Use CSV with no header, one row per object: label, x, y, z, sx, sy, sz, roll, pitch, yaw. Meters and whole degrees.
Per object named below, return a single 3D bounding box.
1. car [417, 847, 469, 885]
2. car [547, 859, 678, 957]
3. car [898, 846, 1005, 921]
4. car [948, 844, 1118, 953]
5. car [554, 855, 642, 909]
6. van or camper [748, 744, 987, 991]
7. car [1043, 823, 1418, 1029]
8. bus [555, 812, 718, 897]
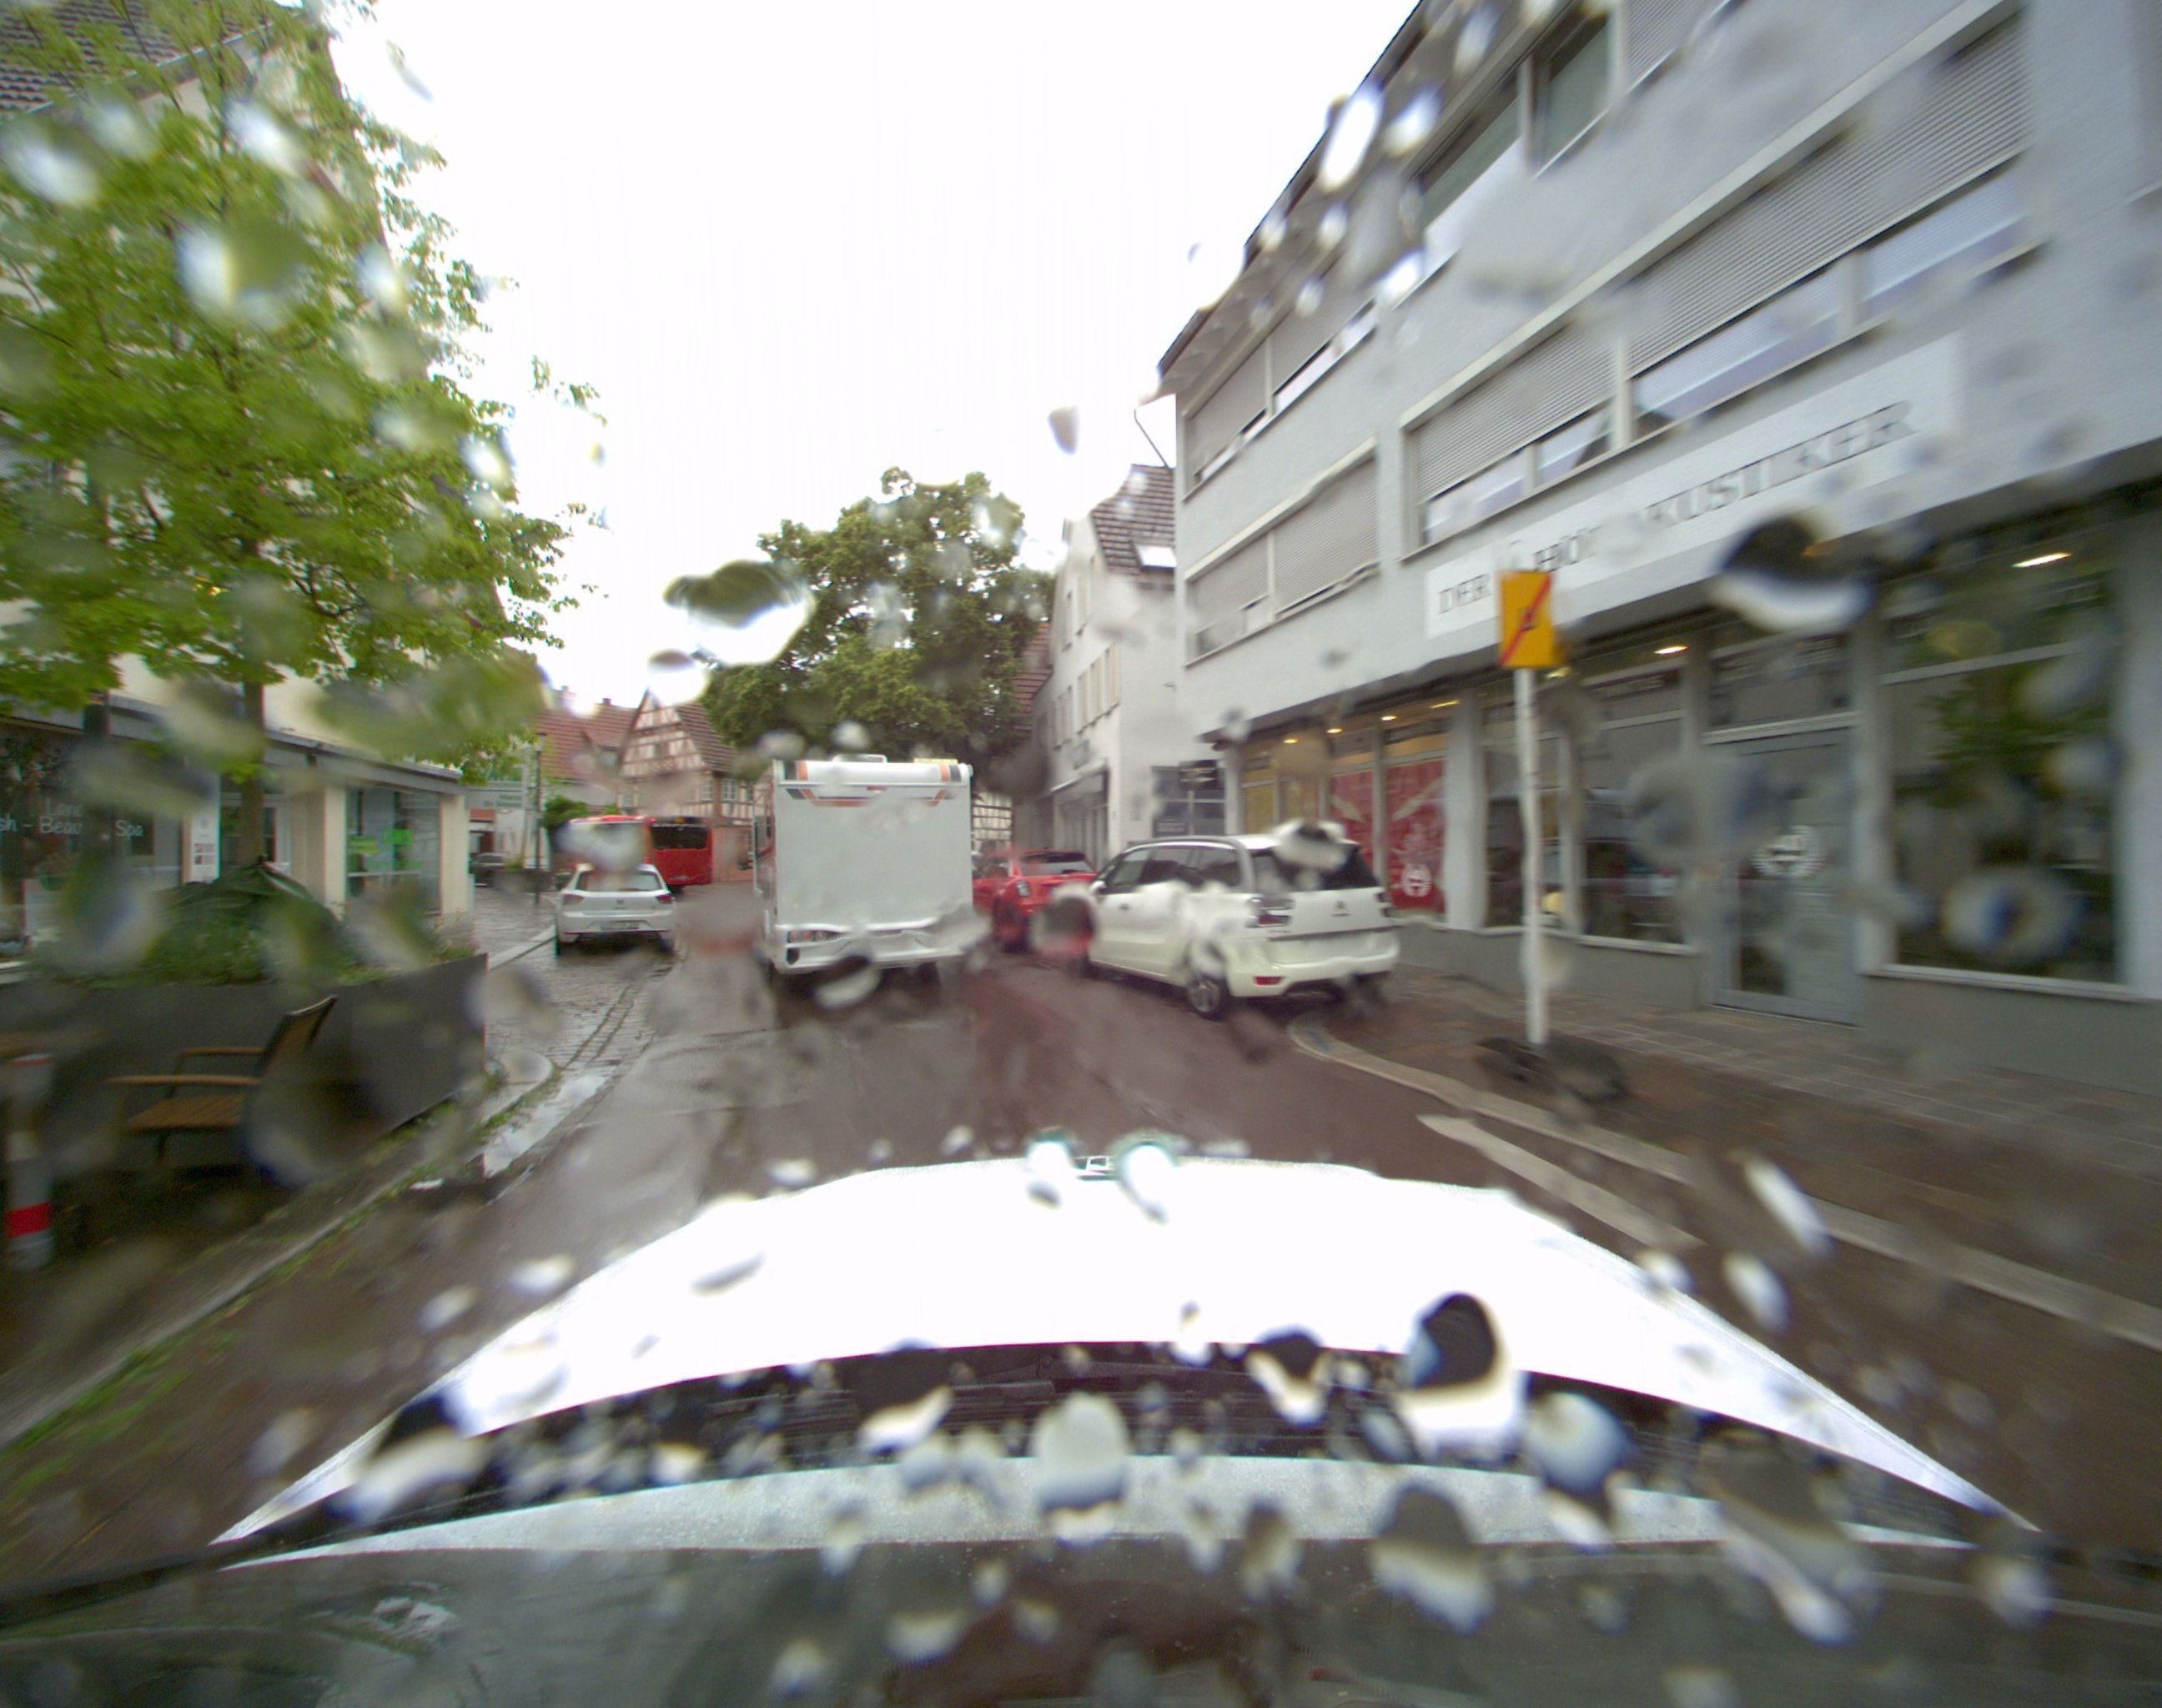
car,-29.902,0.549,38.120,1.713,1.675,3.845,1,-1,-41
car,-8.290,0.838,14.298,1.733,1.414,3.940,2,-1,-33
car,-3.129,0.601,19.121,1.683,1.528,3.772,-2,1,-21
car,-0.963,0.632,13.750,1.684,1.528,3.770,-2,1,-23
car,-14.211,0.753,23.864,1.735,1.414,3.935,0,0,-38
van or camper,-3.553,0.141,12.131,2.449,2.585,6.698,0,0,-23
car,1.250,0.579,8.866,1.784,1.631,4.432,-1,0,-25
bus,-18.940,-0.016,34.222,10.474,3.088,2.839,0,1,43
